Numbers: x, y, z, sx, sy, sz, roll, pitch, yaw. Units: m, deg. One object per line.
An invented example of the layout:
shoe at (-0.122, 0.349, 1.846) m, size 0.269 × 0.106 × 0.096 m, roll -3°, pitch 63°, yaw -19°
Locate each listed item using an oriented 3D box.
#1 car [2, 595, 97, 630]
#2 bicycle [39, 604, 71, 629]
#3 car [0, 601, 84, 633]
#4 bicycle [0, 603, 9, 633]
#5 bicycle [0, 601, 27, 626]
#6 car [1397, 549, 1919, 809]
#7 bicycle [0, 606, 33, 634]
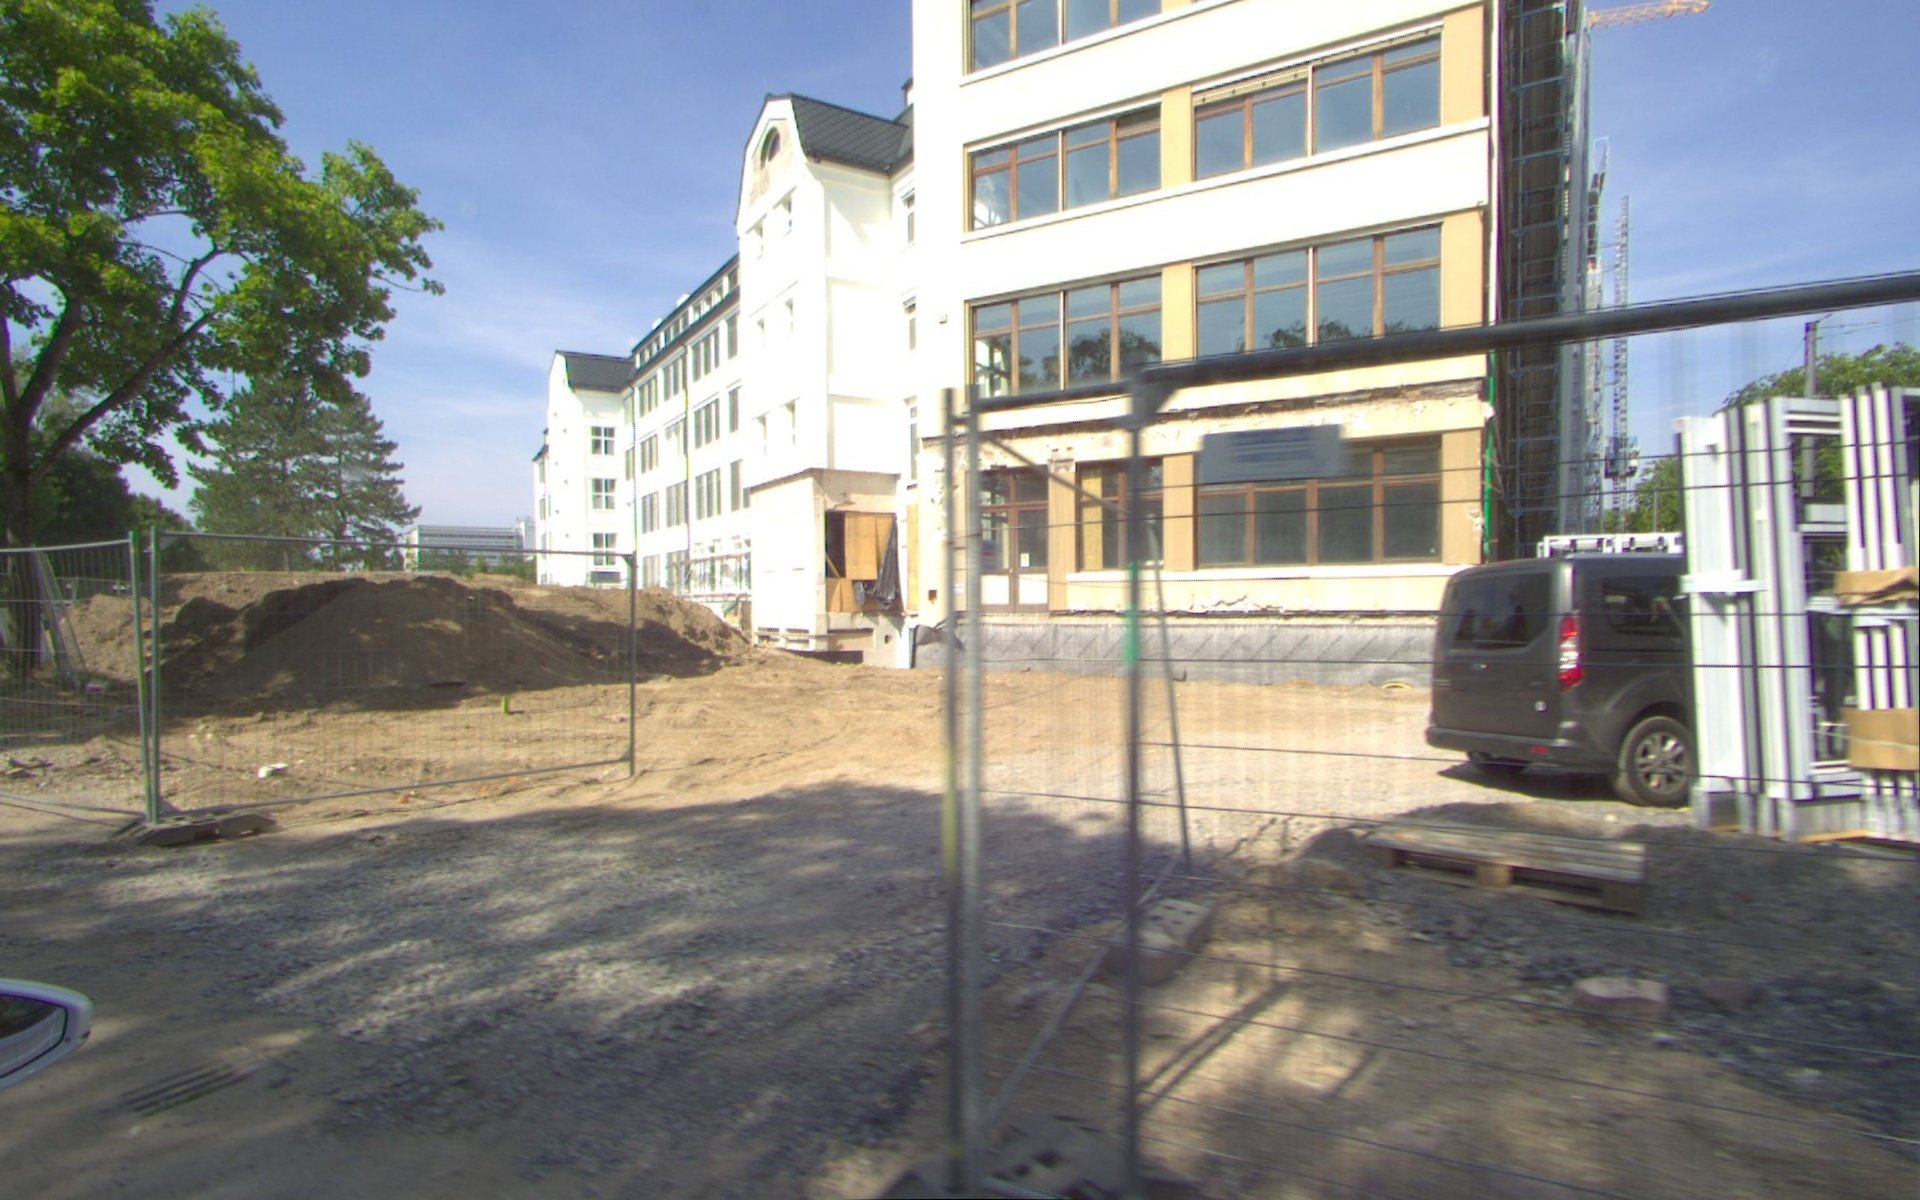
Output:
car at (-55.266, 0.749, 60.864) m, size 3.942 × 2.040 × 1.758 m, roll 0°, pitch 1°, yaw -30°
bicycle at (-48.746, 0.883, 53.973) m, size 0.808 × 1.301 × 2.729 m, roll 0°, pitch 0°, yaw -32°
car at (-53.782, 0.973, 58.277) m, size 3.942 × 1.795 × 1.758 m, roll 0°, pitch 1°, yaw -30°
bicycle at (-42.017, 0.772, 43.347) m, size 0.707 × 1.301 × 2.667 m, roll 0°, pitch 0°, yaw -32°
bicycle at (-50.250, 0.687, 51.955) m, size 2.653 × 1.301 × 0.812 m, roll 0°, pitch 0°, yaw -39°
car at (6.113, 0.561, 8.269) m, size 4.231 × 1.803 × 1.921 m, roll 0°, pitch -1°, yaw -10°
bicycle at (-44.748, 0.917, 47.475) m, size 0.707 × 1.301 × 2.621 m, roll 0°, pitch 0°, yaw -32°
